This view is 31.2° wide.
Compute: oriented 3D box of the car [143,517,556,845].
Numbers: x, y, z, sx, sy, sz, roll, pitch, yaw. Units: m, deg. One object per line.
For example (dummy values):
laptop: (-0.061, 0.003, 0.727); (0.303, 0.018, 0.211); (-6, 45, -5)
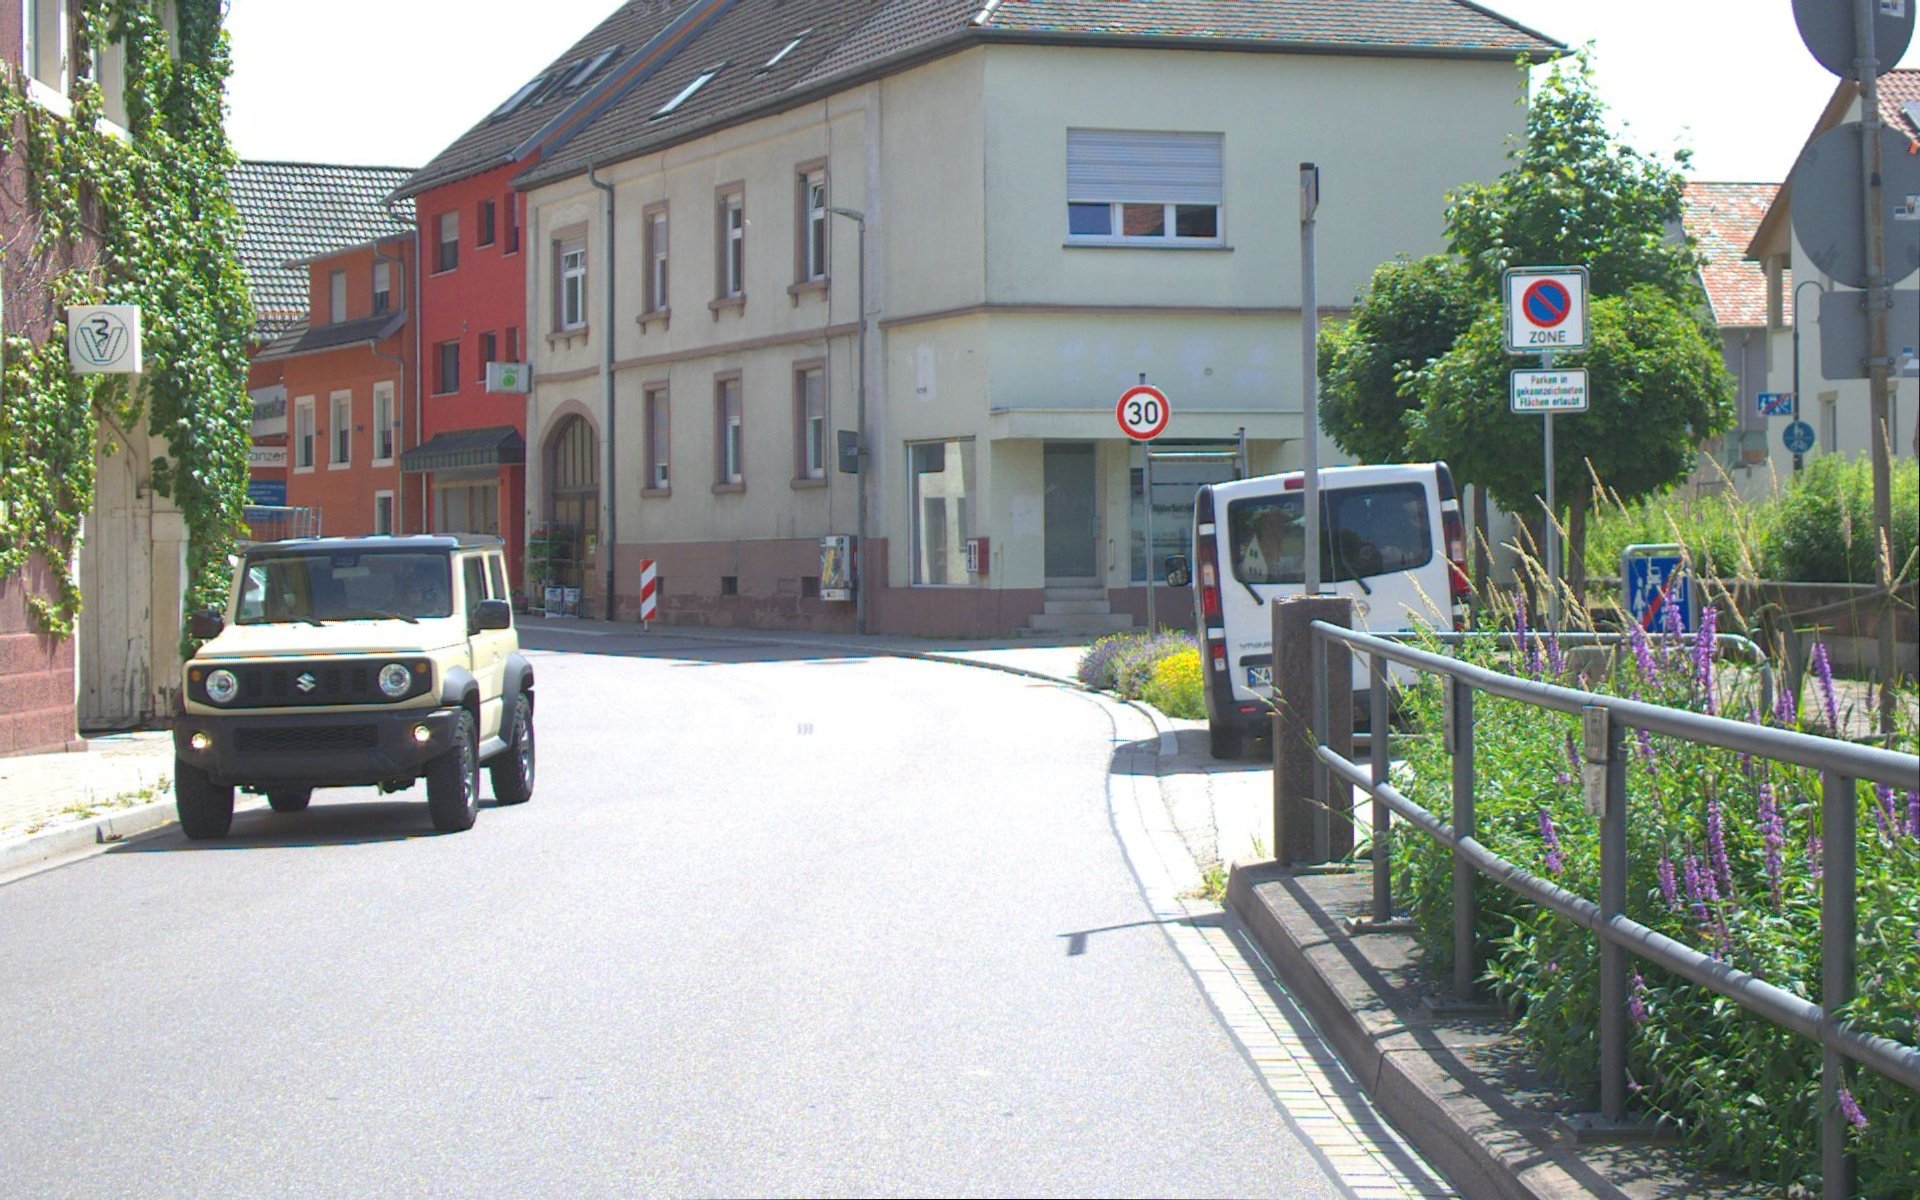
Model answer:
car: (-3.504, 0.403, 20.307); (1.621, 1.713, 3.473); (-2, 1, 2)

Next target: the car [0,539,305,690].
car: (-9.416, 0.185, 38.610); (3.996, 1.525, 1.995); (-3, -2, 42)

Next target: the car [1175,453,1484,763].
car: (2.545, 0.023, 24.317); (1.898, 1.974, 3.113); (-2, 1, 2)
